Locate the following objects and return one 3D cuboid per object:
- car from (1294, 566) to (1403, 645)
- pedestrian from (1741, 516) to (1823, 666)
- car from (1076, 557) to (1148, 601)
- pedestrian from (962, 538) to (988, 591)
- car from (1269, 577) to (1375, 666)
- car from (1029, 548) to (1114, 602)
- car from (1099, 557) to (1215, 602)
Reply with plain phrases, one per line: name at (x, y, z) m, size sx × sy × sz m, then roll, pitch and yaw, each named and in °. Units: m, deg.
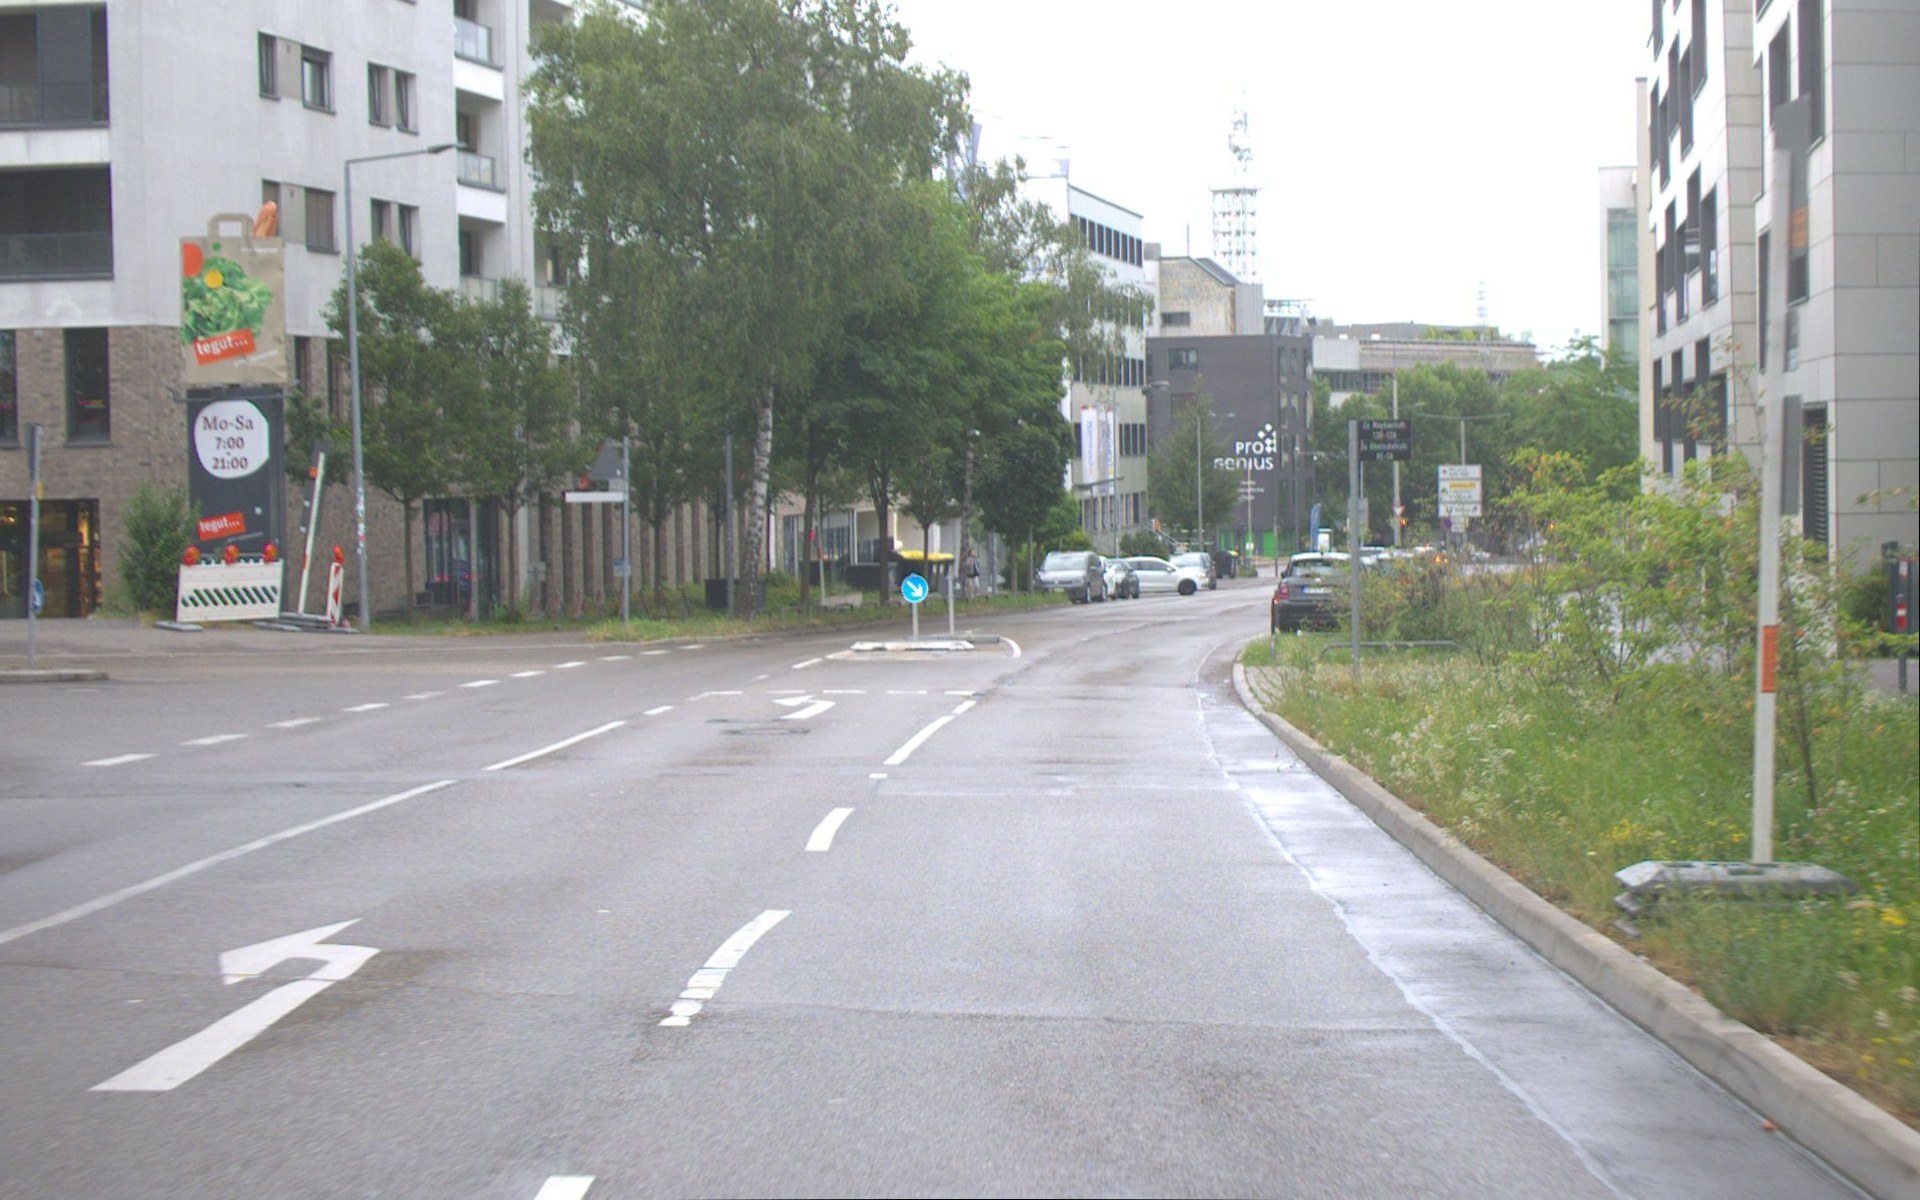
car at (7.585, 0.103, 66.883) m, size 1.808 × 1.479 × 4.493 m, roll 0°, pitch 0°, yaw 10°
pedestrian at (9.990, -0.110, 41.814) m, size 0.822 × 1.790 × 0.778 m, roll -1°, pitch 0°, yaw 5°
car at (5.277, -0.720, 118.851) m, size 1.798 × 1.511 × 4.243 m, roll 0°, pitch 0°, yaw 12°
pedestrian at (0.482, -1.153, 110.098) m, size 0.708 × 1.677 × 0.956 m, roll 0°, pitch 1°, yaw 6°
car at (6.525, 0.366, 61.703) m, size 1.547 × 1.473 × 3.659 m, roll 0°, pitch 1°, yaw 11°
car at (3.559, -0.817, 109.021) m, size 2.078 × 1.603 × 4.684 m, roll -2°, pitch 1°, yaw 9°
car at (7.199, -0.758, 125.806) m, size 3.982 × 1.571 × 2.000 m, roll 0°, pitch 1°, yaw -4°
